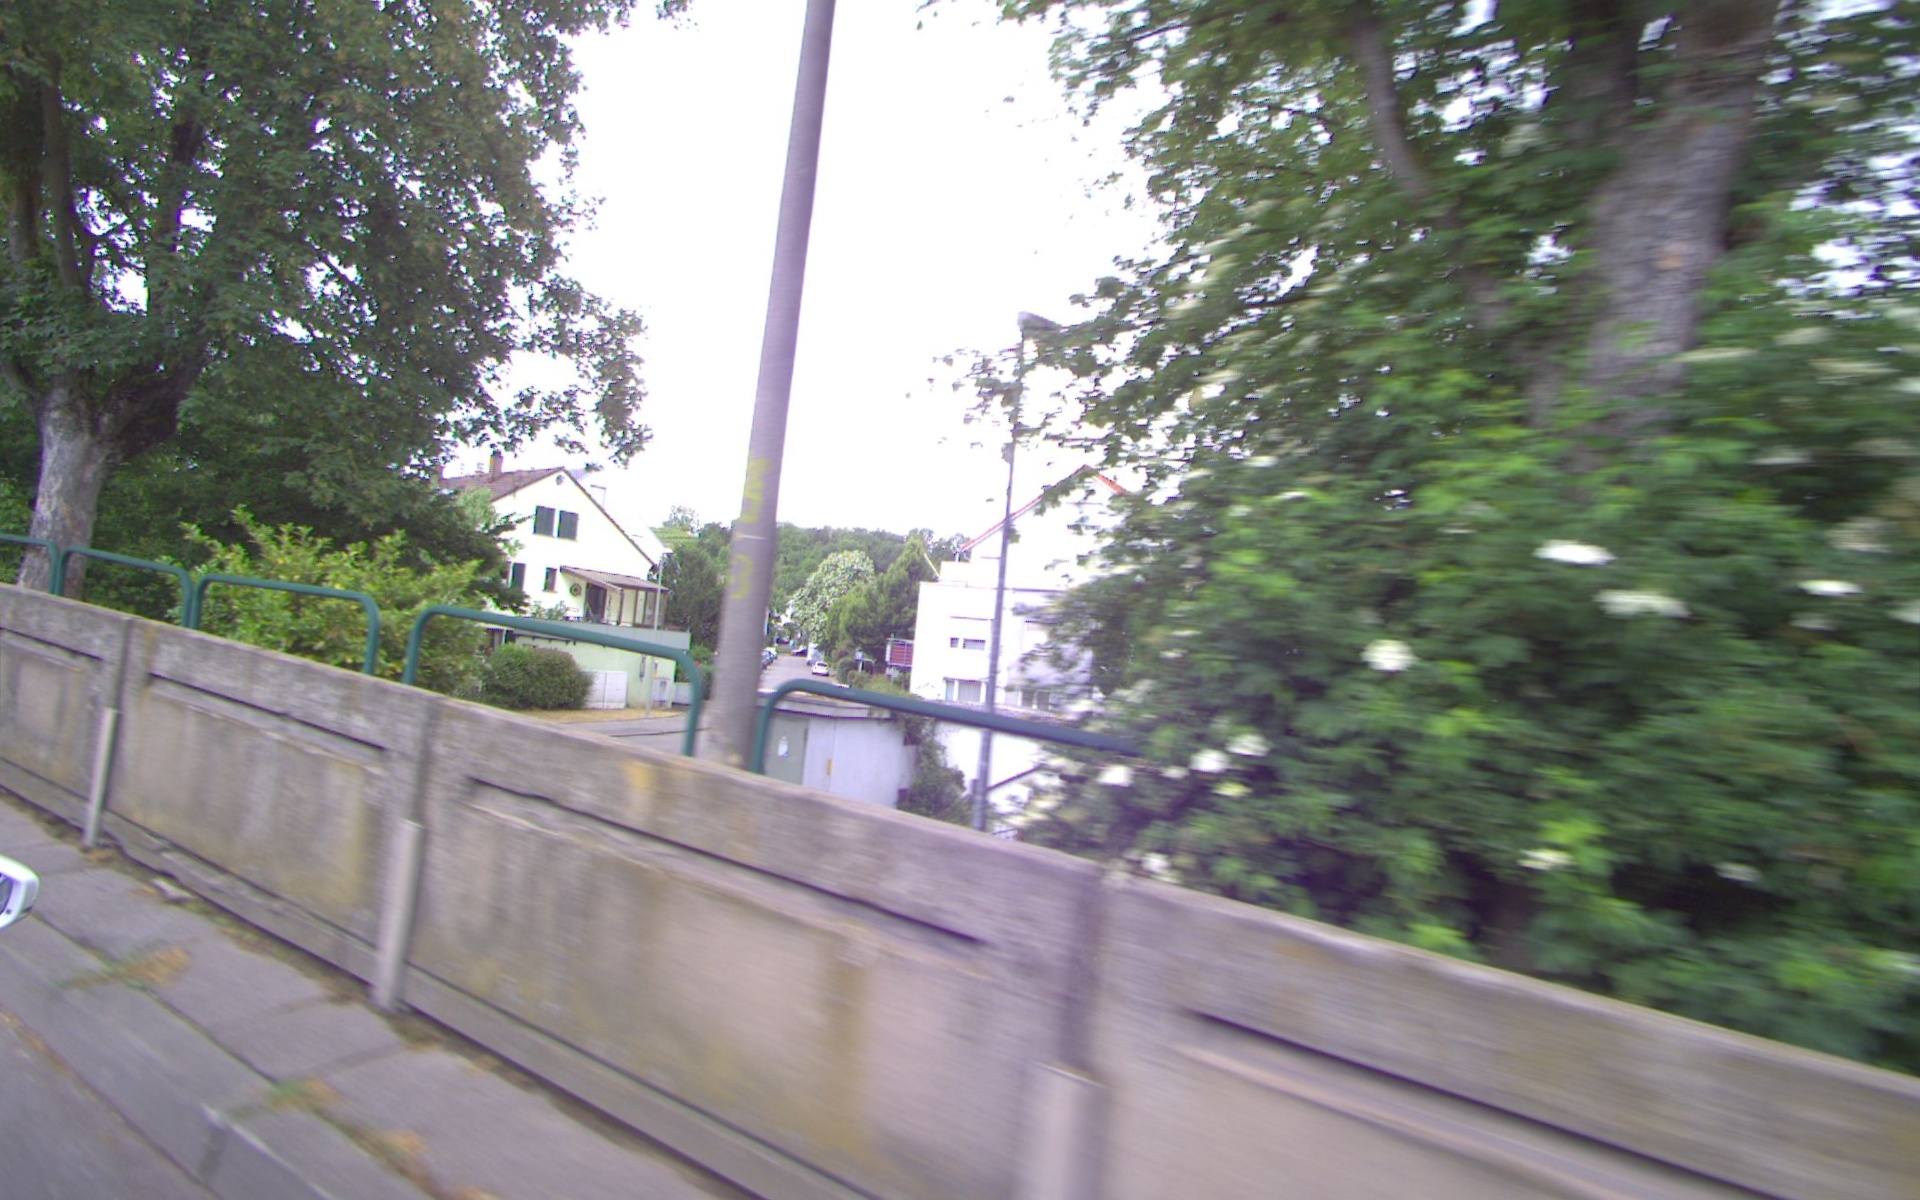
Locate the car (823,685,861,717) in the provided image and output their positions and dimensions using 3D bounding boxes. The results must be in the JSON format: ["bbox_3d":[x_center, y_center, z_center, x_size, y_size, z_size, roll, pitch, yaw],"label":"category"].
[{"bbox_3d":[-6.686,5.652,56.642,1.665,1.516,4.000,8,-5,-10],"label":"car"}]
